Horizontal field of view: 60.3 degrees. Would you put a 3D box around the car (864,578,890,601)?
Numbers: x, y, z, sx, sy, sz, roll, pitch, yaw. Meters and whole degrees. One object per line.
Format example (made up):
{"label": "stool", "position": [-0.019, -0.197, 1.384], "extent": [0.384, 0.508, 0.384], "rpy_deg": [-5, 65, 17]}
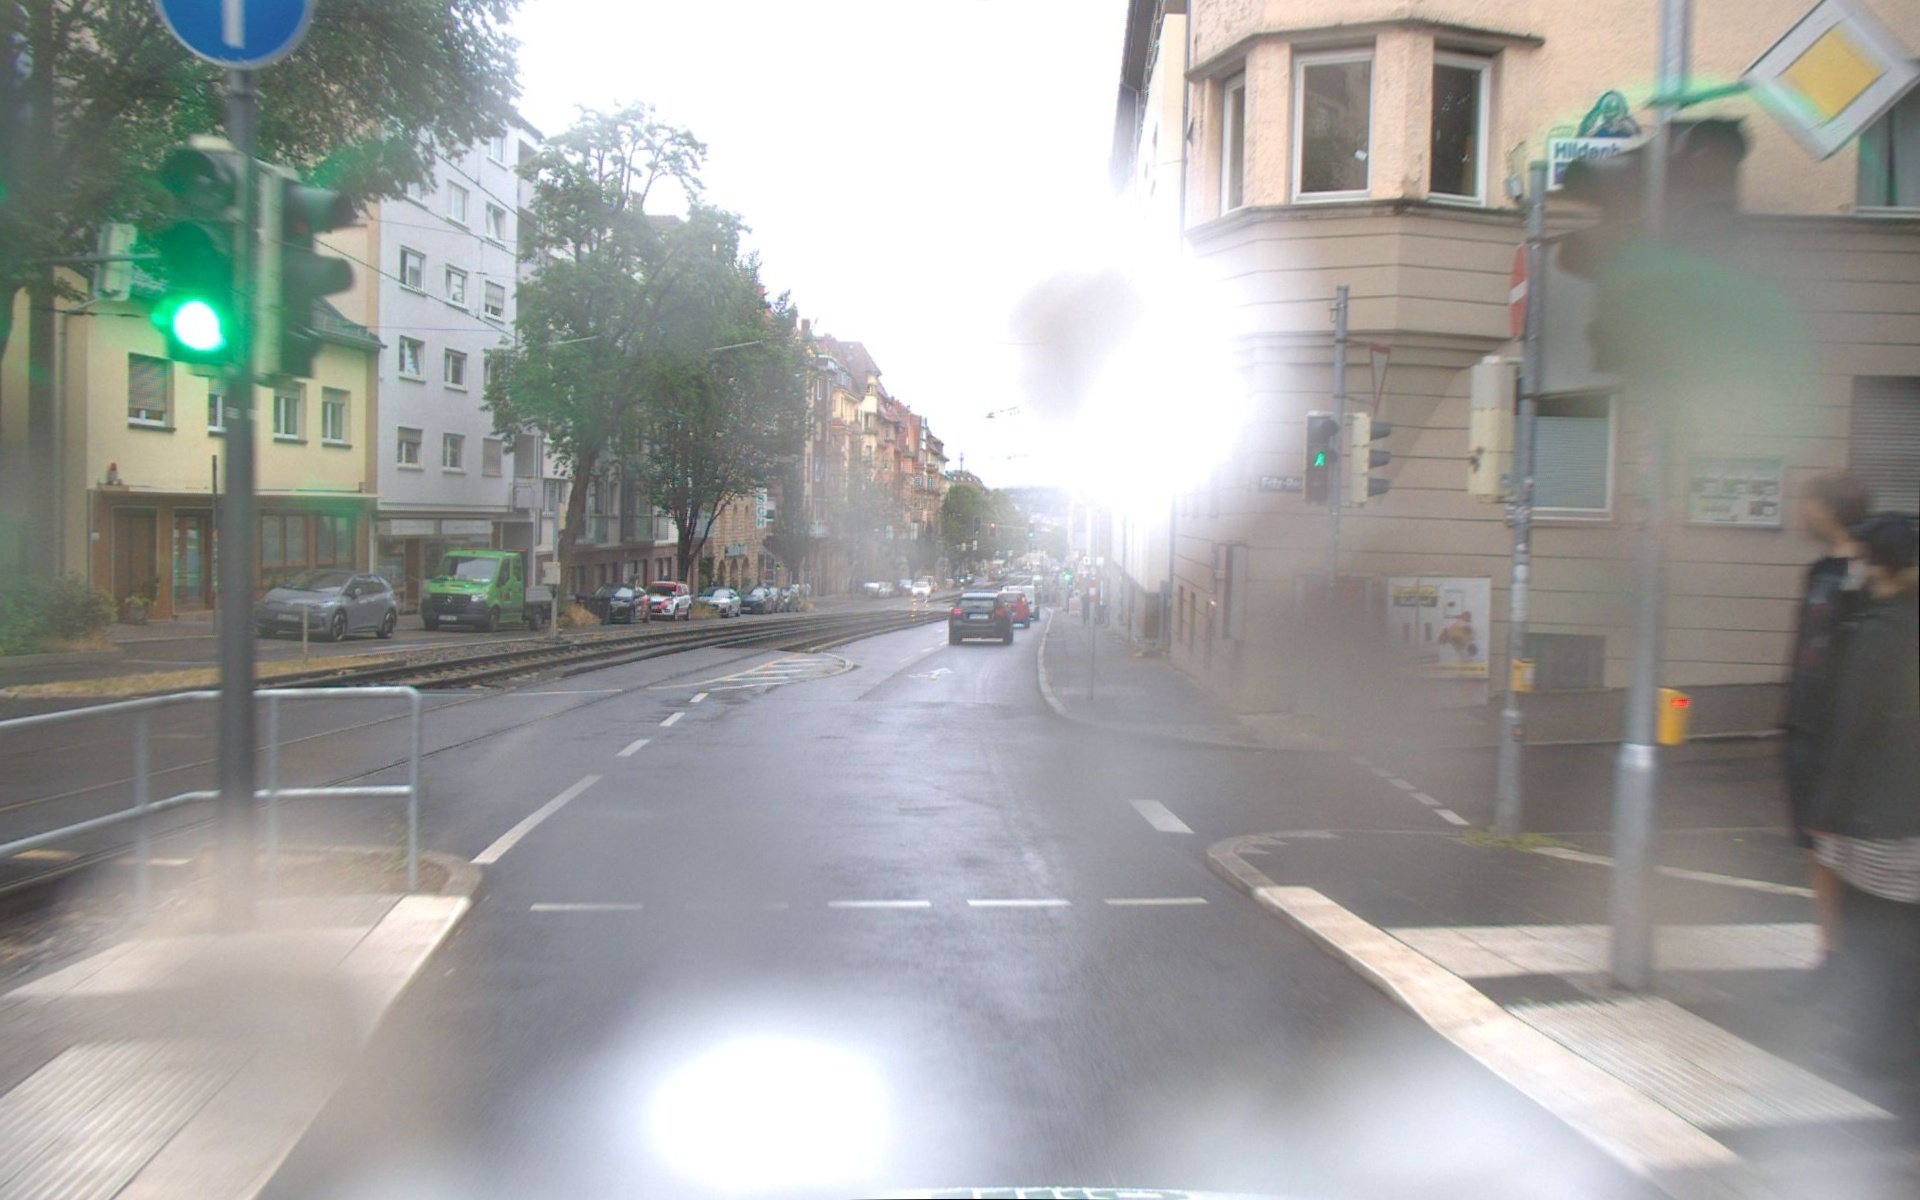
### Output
{"label": "car", "position": [-7.546, -0.940, 150.672], "extent": [1.952, 2.049, 4.347], "rpy_deg": [-1, -1, 2]}

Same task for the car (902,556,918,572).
{"label": "car", "position": [-6.953, -4.967, 228.578], "extent": [1.952, 2.049, 4.001], "rpy_deg": [1, 0, 2]}

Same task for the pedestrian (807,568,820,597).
{"label": "pedestrian", "position": [-10.631, -1.252, 120.065], "extent": [0.853, 2.049, 0.704], "rpy_deg": [-1, -1, 1]}

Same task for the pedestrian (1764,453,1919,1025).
{"label": "pedestrian", "position": [3.207, 0.454, 5.683], "extent": [0.542, 1.845, 0.651], "rpy_deg": [1, 0, 0]}

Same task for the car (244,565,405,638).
{"label": "car", "position": [-14.543, 0.006, 38.129], "extent": [1.690, 1.542, 4.498], "rpy_deg": [1, 1, 4]}

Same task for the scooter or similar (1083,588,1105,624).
{"label": "scooter or similar", "position": [6.124, 0.271, 75.473], "extent": [0.900, 1.632, 0.862], "rpy_deg": [1, 0, -1]}

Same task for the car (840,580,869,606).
{"label": "car", "position": [-8.661, -0.518, 135.625], "extent": [1.952, 2.049, 4.347], "rpy_deg": [-1, -1, 2]}

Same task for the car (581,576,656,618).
{"label": "car", "position": [-12.793, -0.101, 62.161], "extent": [1.736, 1.478, 4.256], "rpy_deg": [-1, 0, 2]}

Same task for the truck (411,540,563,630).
{"label": "truck", "position": [-13.657, -0.407, 48.262], "extent": [2.008, 2.435, 6.325], "rpy_deg": [1, 0, 6]}

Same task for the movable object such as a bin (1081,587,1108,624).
{"label": "movable object such as a bin", "position": [6.258, 0.258, 76.978], "extent": [1.144, 1.684, 1.309], "rpy_deg": [0, 0, -1]}

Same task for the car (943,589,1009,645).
{"label": "car", "position": [0.506, 0.459, 47.718], "extent": [1.813, 1.499, 4.001], "rpy_deg": [1, 0, 2]}

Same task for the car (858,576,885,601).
{"label": "car", "position": [-7.793, -0.994, 145.632], "extent": [1.952, 2.049, 4.347], "rpy_deg": [-1, -1, 2]}

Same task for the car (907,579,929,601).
{"label": "car", "position": [-4.158, -0.994, 163.674], "extent": [1.952, 2.049, 4.347], "rpy_deg": [1, 0, 2]}

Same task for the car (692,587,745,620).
{"label": "car", "position": [-11.763, 0.173, 80.822], "extent": [1.736, 1.514, 4.257], "rpy_deg": [-1, 0, 3]}

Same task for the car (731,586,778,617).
{"label": "car", "position": [-11.104, 0.073, 89.492], "extent": [1.736, 1.648, 4.257], "rpy_deg": [-1, 0, 3]}

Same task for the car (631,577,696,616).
{"label": "car", "position": [-12.399, -0.147, 69.400], "extent": [1.736, 1.573, 4.257], "rpy_deg": [-1, 0, 2]}

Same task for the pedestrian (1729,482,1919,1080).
{"label": "pedestrian", "position": [2.840, 0.528, 5.069], "extent": [0.681, 1.724, 0.555], "rpy_deg": [1, 0, 0]}

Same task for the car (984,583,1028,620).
{"label": "car", "position": [1.994, 0.073, 71.752], "extent": [1.813, 1.499, 4.000], "rpy_deg": [2, 0, 1]}

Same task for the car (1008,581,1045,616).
{"label": "car", "position": [3.642, -0.068, 91.395], "extent": [1.908, 1.824, 4.144], "rpy_deg": [2, 0, 1]}
